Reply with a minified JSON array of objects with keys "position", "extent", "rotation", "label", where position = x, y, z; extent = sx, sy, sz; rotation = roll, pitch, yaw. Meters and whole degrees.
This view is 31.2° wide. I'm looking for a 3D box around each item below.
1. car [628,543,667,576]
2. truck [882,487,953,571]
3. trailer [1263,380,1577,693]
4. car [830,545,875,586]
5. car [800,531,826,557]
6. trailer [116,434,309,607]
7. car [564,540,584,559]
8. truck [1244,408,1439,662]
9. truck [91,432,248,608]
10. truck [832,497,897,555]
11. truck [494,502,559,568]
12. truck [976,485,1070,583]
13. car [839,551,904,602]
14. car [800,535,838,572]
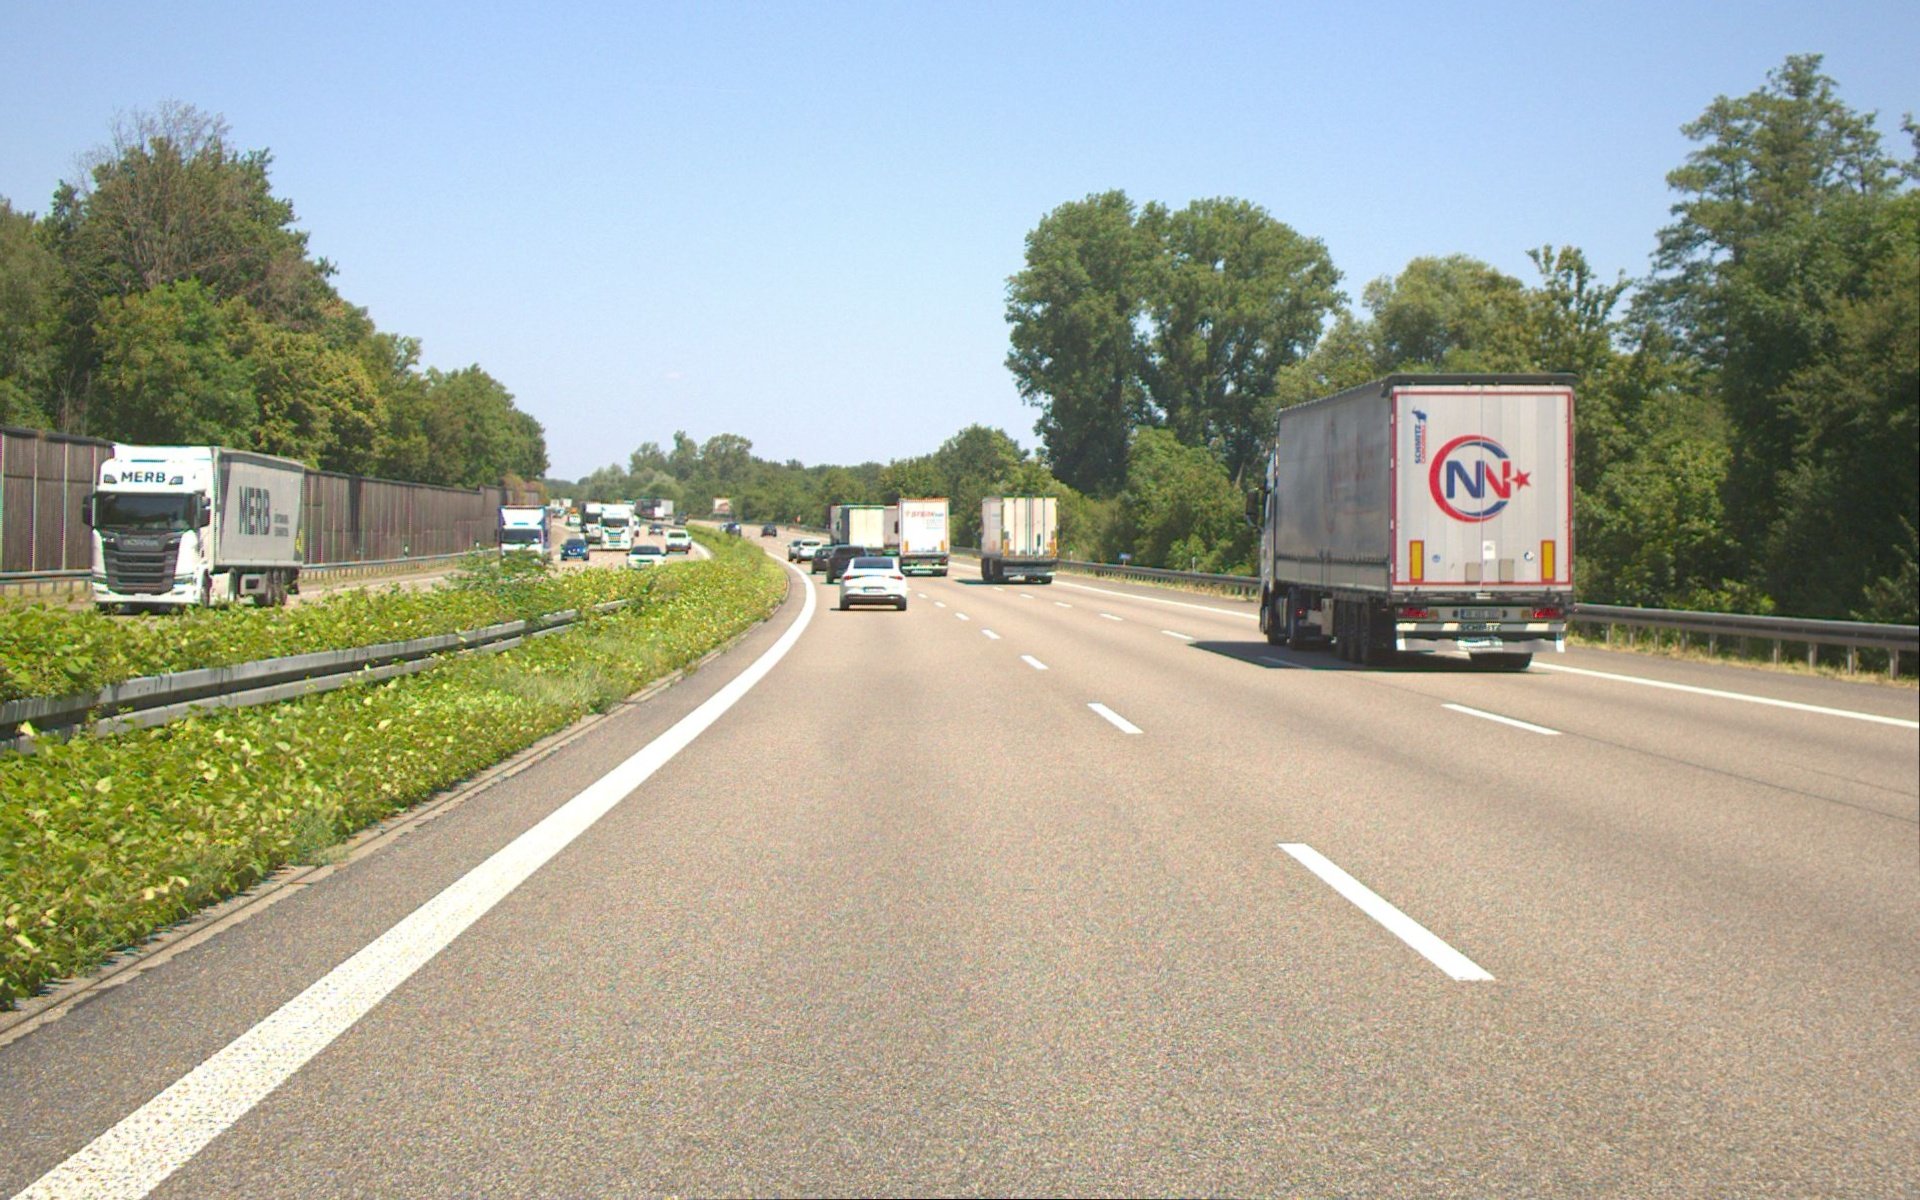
[{"position":[-15.085,-1.968,166.025],"extent":[1.583,1.583,4.000],"rotation":[1,1,-1],"label":"car"},{"position":[-2.319,-3.772,183.272],"extent":[3.359,4.296,10.830],"rotation":[1,1,-3],"label":"truck"},{"position":[6.899,-0.969,53.961],"extent":[2.624,4.246,14.062],"rotation":[1,1,-2],"label":"trailer"},{"position":[-4.820,-1.558,154.021],"extent":[1.993,1.766,4.001],"rotation":[1,1,-2],"label":"car"},{"position":[-10.242,-3.894,239.349],"extent":[1.723,1.777,4.001],"rotation":[0,1,-4],"label":"car"},{"position":[-19.261,-2.005,89.450],"extent":[2.484,4.121,13.655],"rotation":[1,1,-2],"label":"trailer"},{"position":[-27.017,-3.544,240.593],"extent":[1.279,1.251,3.029],"rotation":[1,1,-4],"label":"car"},{"position":[6.685,-1.135,60.975],"extent":[2.605,4.272,5.436],"rotation":[1,1,-2],"label":"truck"},{"position":[-19.002,-1.906,82.977],"extent":[2.520,4.052,6.371],"rotation":[1,1,-2],"label":"truck"},{"position":[-7.303,-5.579,260.925],"extent":[3.579,4.296,12.193],"rotation":[1,1,-8],"label":"truck"},{"position":[-24.112,-3.617,191.484],"extent":[2.833,3.597,8.746],"rotation":[1,1,-2],"label":"truck"},{"position":[2.795,-2.987,156.861],"extent":[3.492,4.296,10.990],"rotation":[1,1,-3],"label":"truck"},{"position":[-2.421,-0.654,94.511],"extent":[1.715,1.365,3.375],"rotation":[1,1,0],"label":"car"},{"position":[-7.757,-2.575,188.604],"extent":[1.993,2.007,4.001],"rotation":[0,1,-4],"label":"car"}]
